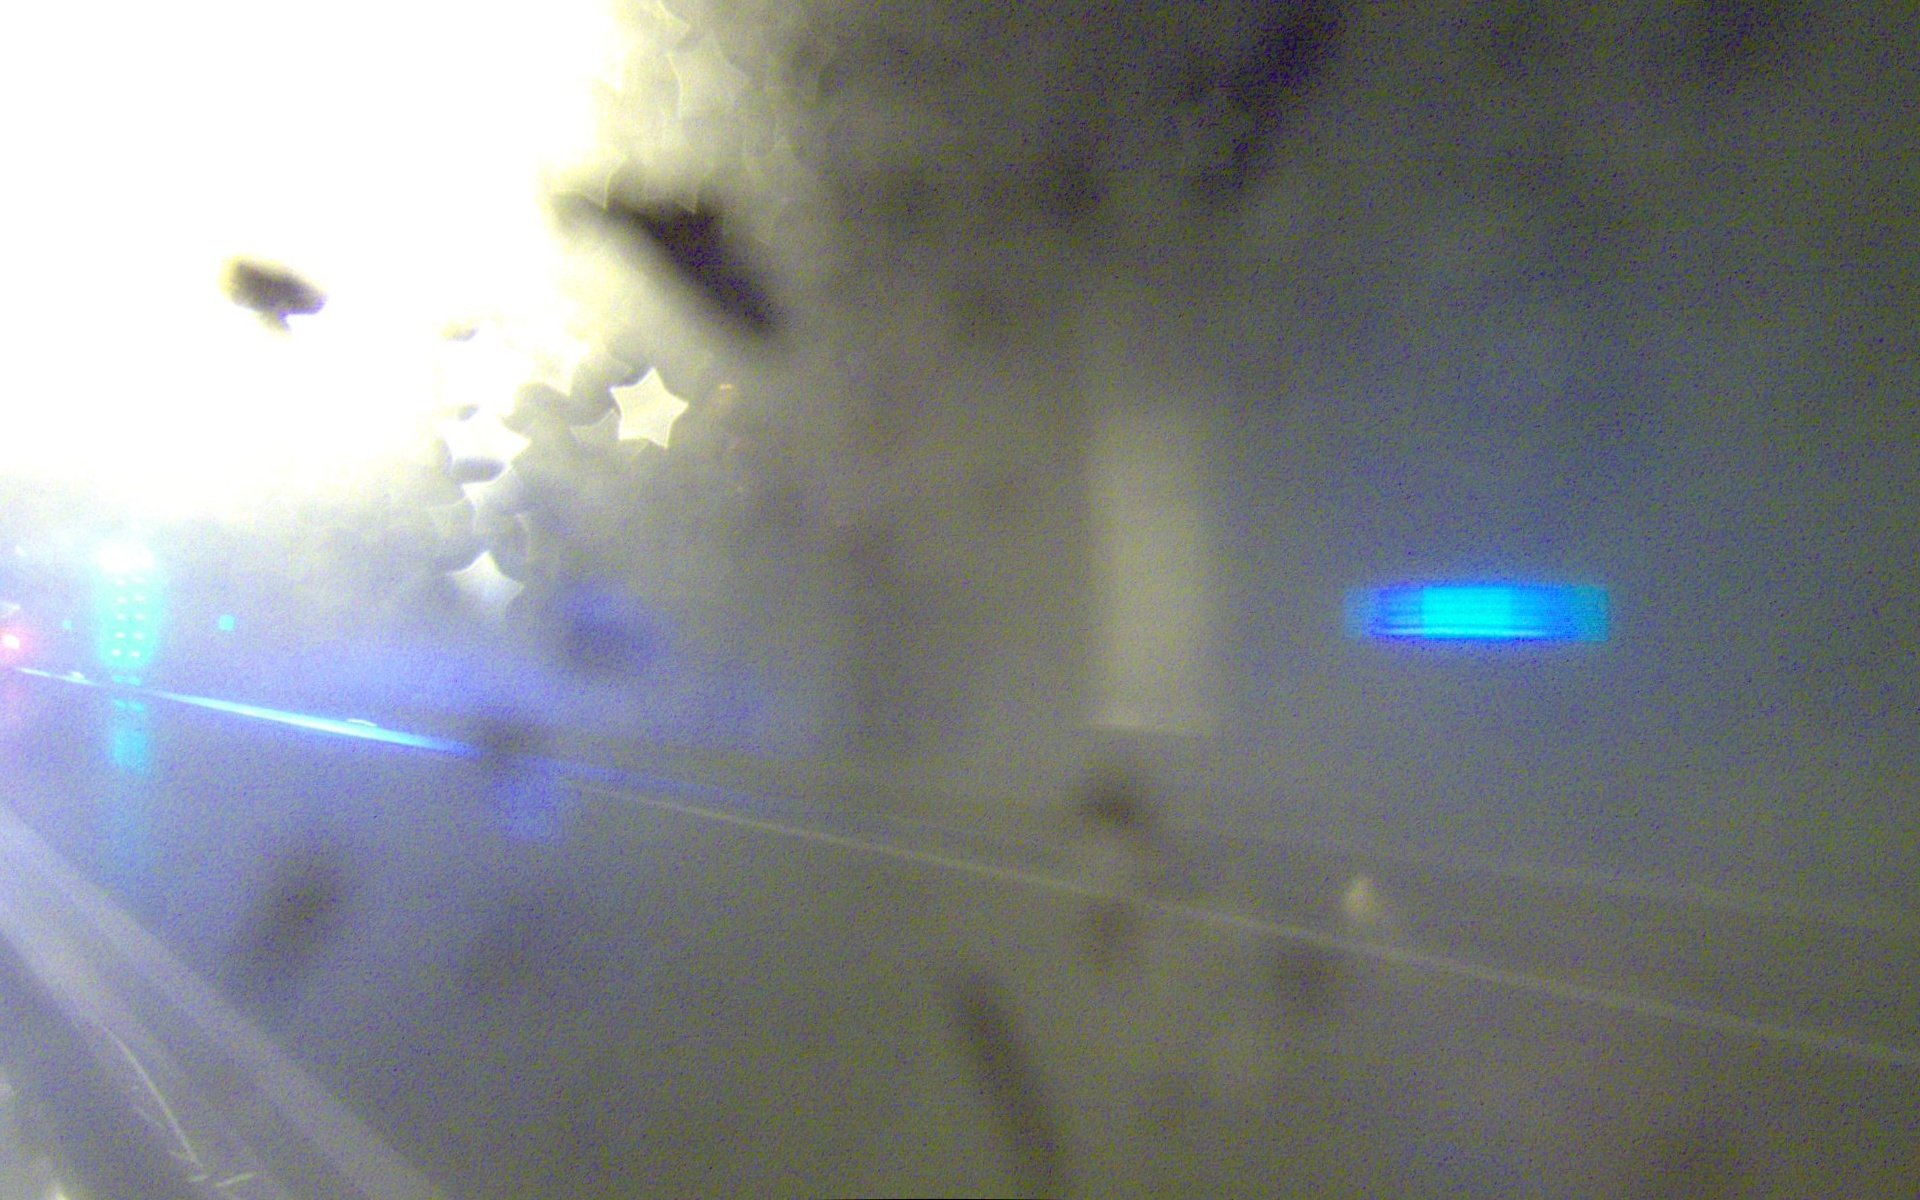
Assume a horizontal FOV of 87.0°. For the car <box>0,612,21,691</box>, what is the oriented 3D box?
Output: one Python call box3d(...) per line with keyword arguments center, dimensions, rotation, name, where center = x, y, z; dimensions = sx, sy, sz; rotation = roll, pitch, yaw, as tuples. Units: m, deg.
box3d(center=(-26.906, 1.382, 27.143), dimensions=(4.557, 2.029, 2.063), rotation=(-2, -3, 41), name="car")
